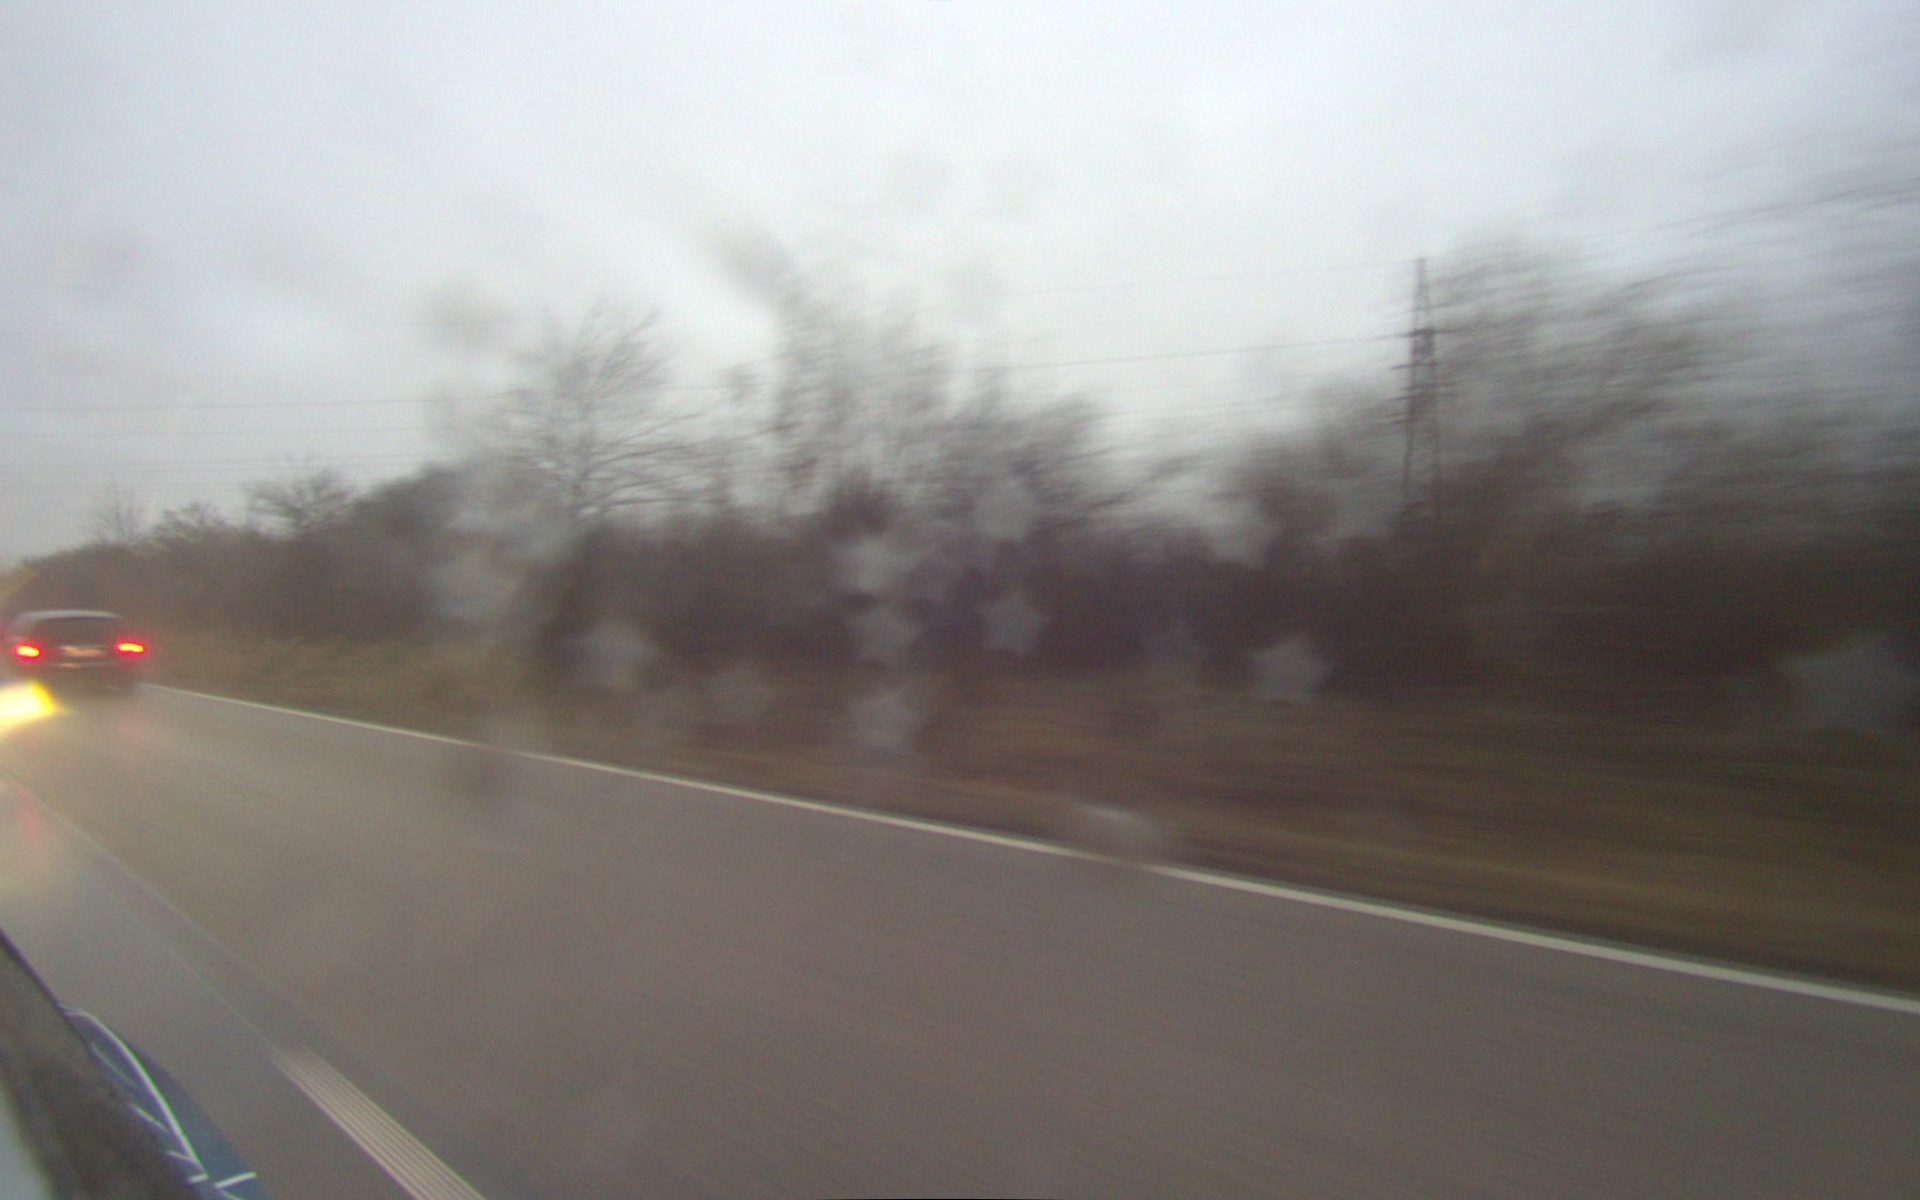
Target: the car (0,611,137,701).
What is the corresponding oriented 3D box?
[{"bbox_3d":[-18.259,1.047,20.471,4.690,1.608,1.761,-1,0,41],"label":"car"}]
